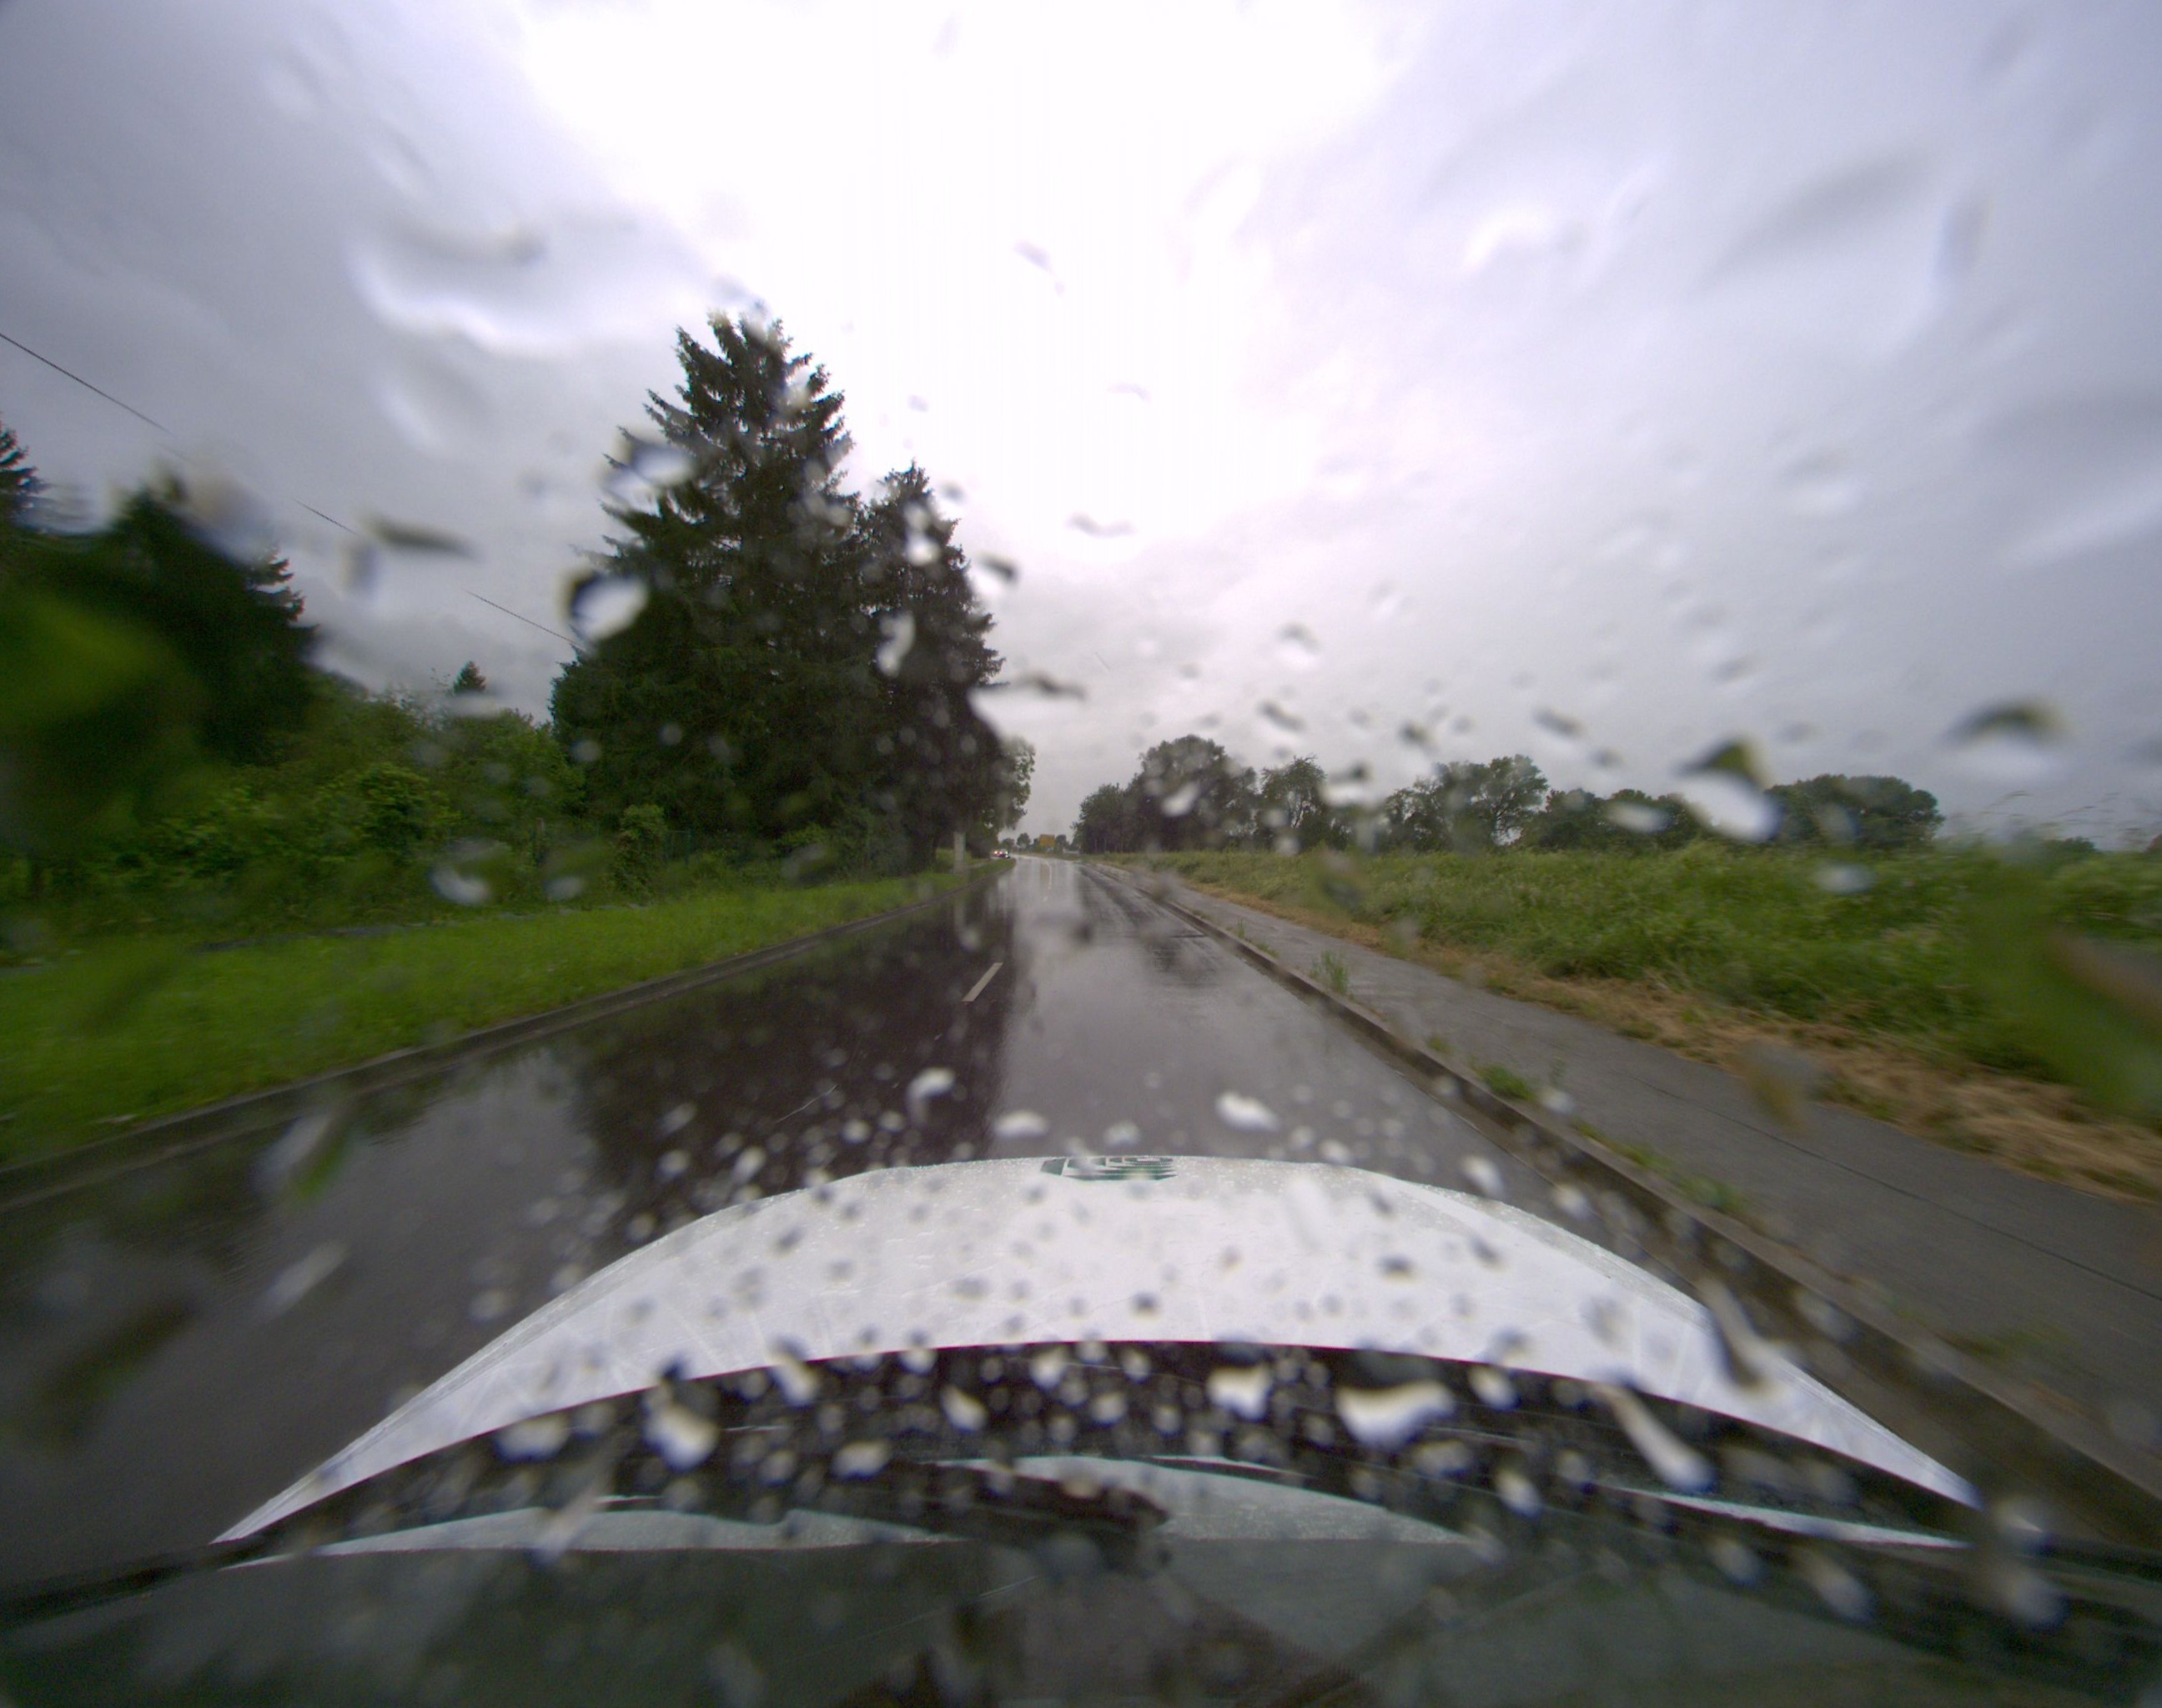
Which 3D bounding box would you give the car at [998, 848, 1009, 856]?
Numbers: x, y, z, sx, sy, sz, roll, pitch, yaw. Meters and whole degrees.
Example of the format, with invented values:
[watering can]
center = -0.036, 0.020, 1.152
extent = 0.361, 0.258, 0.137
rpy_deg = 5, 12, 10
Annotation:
[car]
center = -17.989, -0.444, 188.027
extent = 1.765, 1.551, 3.979
rpy_deg = -1, 6, -18
